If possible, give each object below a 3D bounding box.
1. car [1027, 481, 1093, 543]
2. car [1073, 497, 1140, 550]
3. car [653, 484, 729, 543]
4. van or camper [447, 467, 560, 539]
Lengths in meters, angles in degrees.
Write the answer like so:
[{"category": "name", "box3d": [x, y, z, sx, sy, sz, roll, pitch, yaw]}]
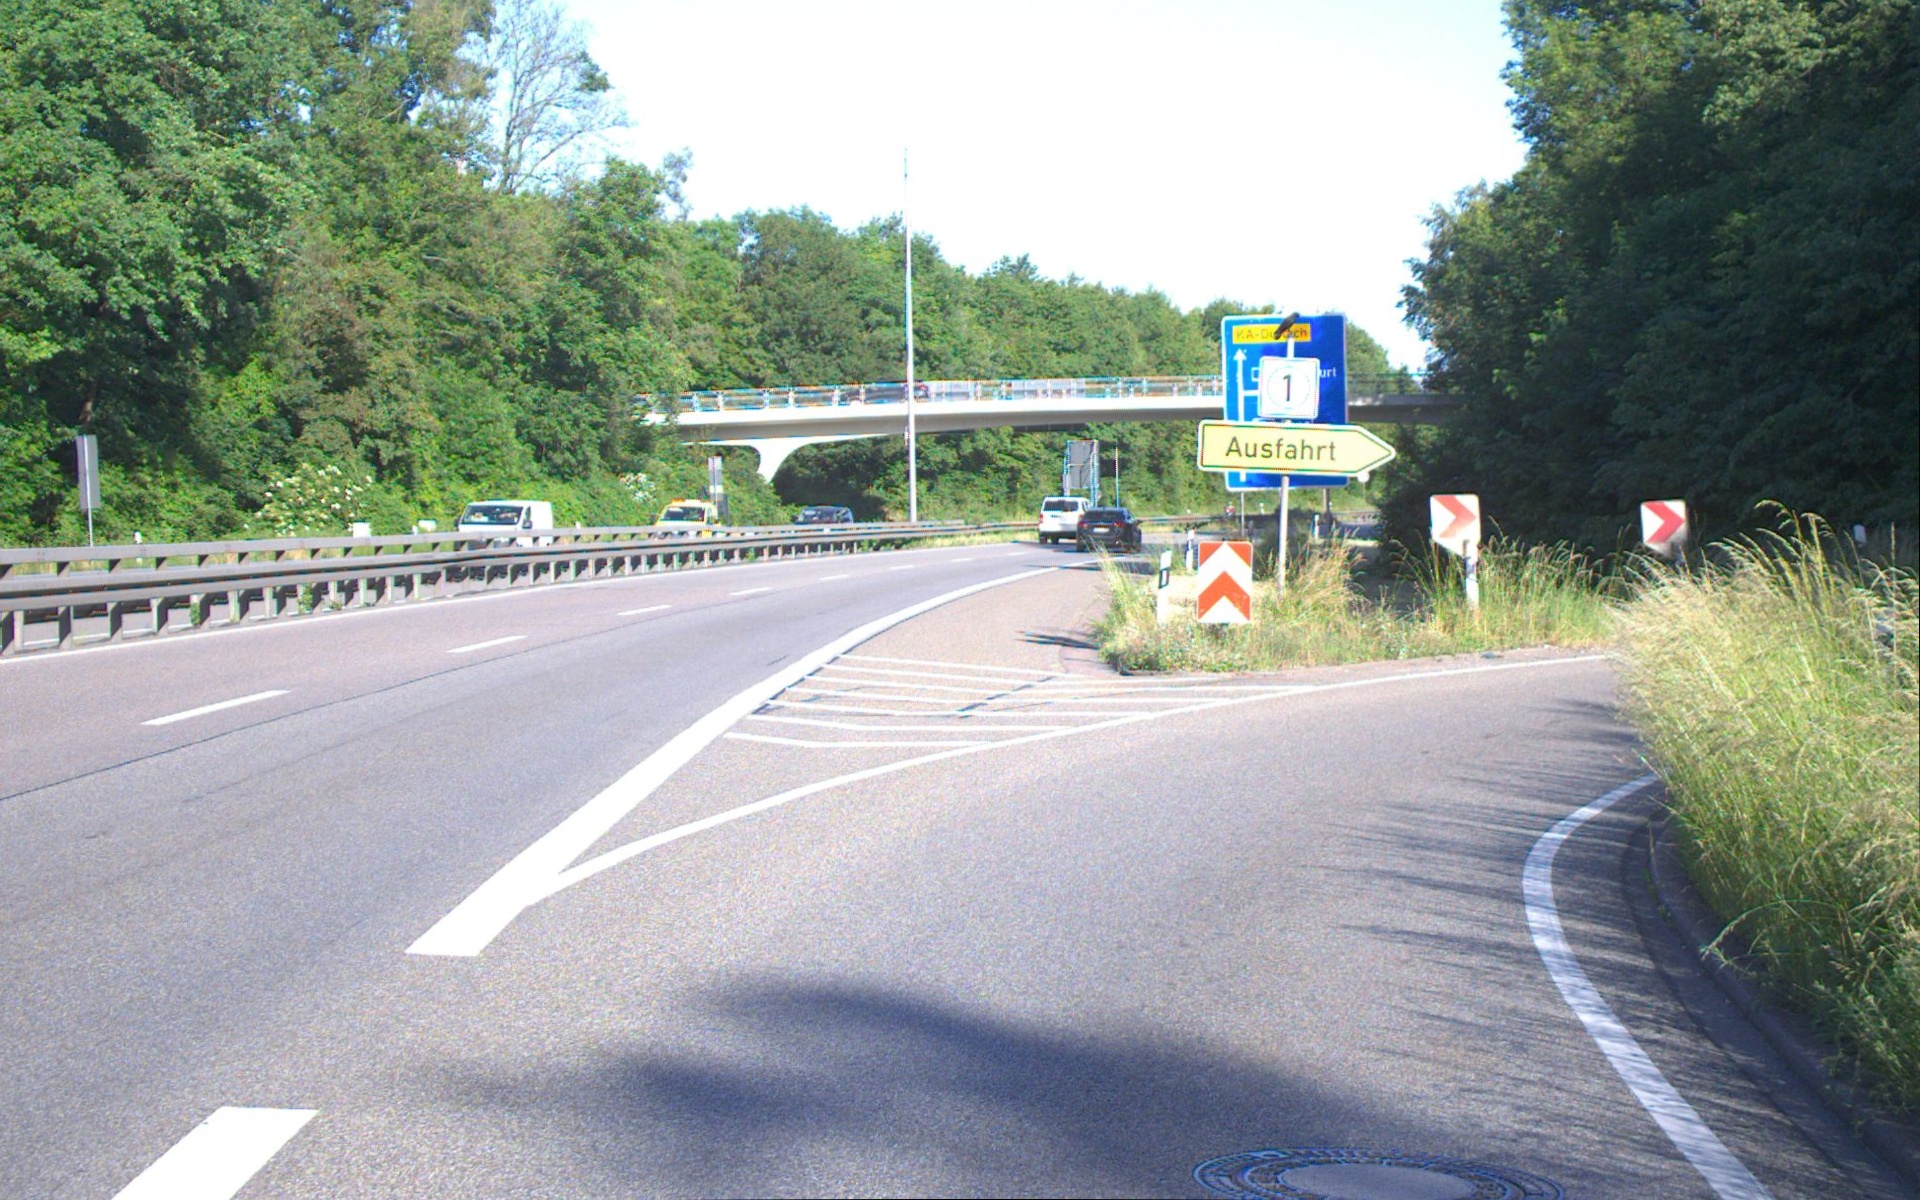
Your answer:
[{"category": "car", "box3d": [3.765, -3.307, 129.110, 1.994, 2.269, 3.999, 0, 2, 9]}, {"category": "car", "box3d": [4.792, -2.507, 111.973, 1.740, 1.656, 3.944, 0, 2, 9]}, {"category": "car", "box3d": [-9.501, -3.064, 121.519, 1.994, 2.007, 4.000, 0, 1, 5]}, {"category": "van or camper", "box3d": [-13.076, -2.789, 98.708, 2.074, 2.007, 4.818, 0, 2, 7]}]
